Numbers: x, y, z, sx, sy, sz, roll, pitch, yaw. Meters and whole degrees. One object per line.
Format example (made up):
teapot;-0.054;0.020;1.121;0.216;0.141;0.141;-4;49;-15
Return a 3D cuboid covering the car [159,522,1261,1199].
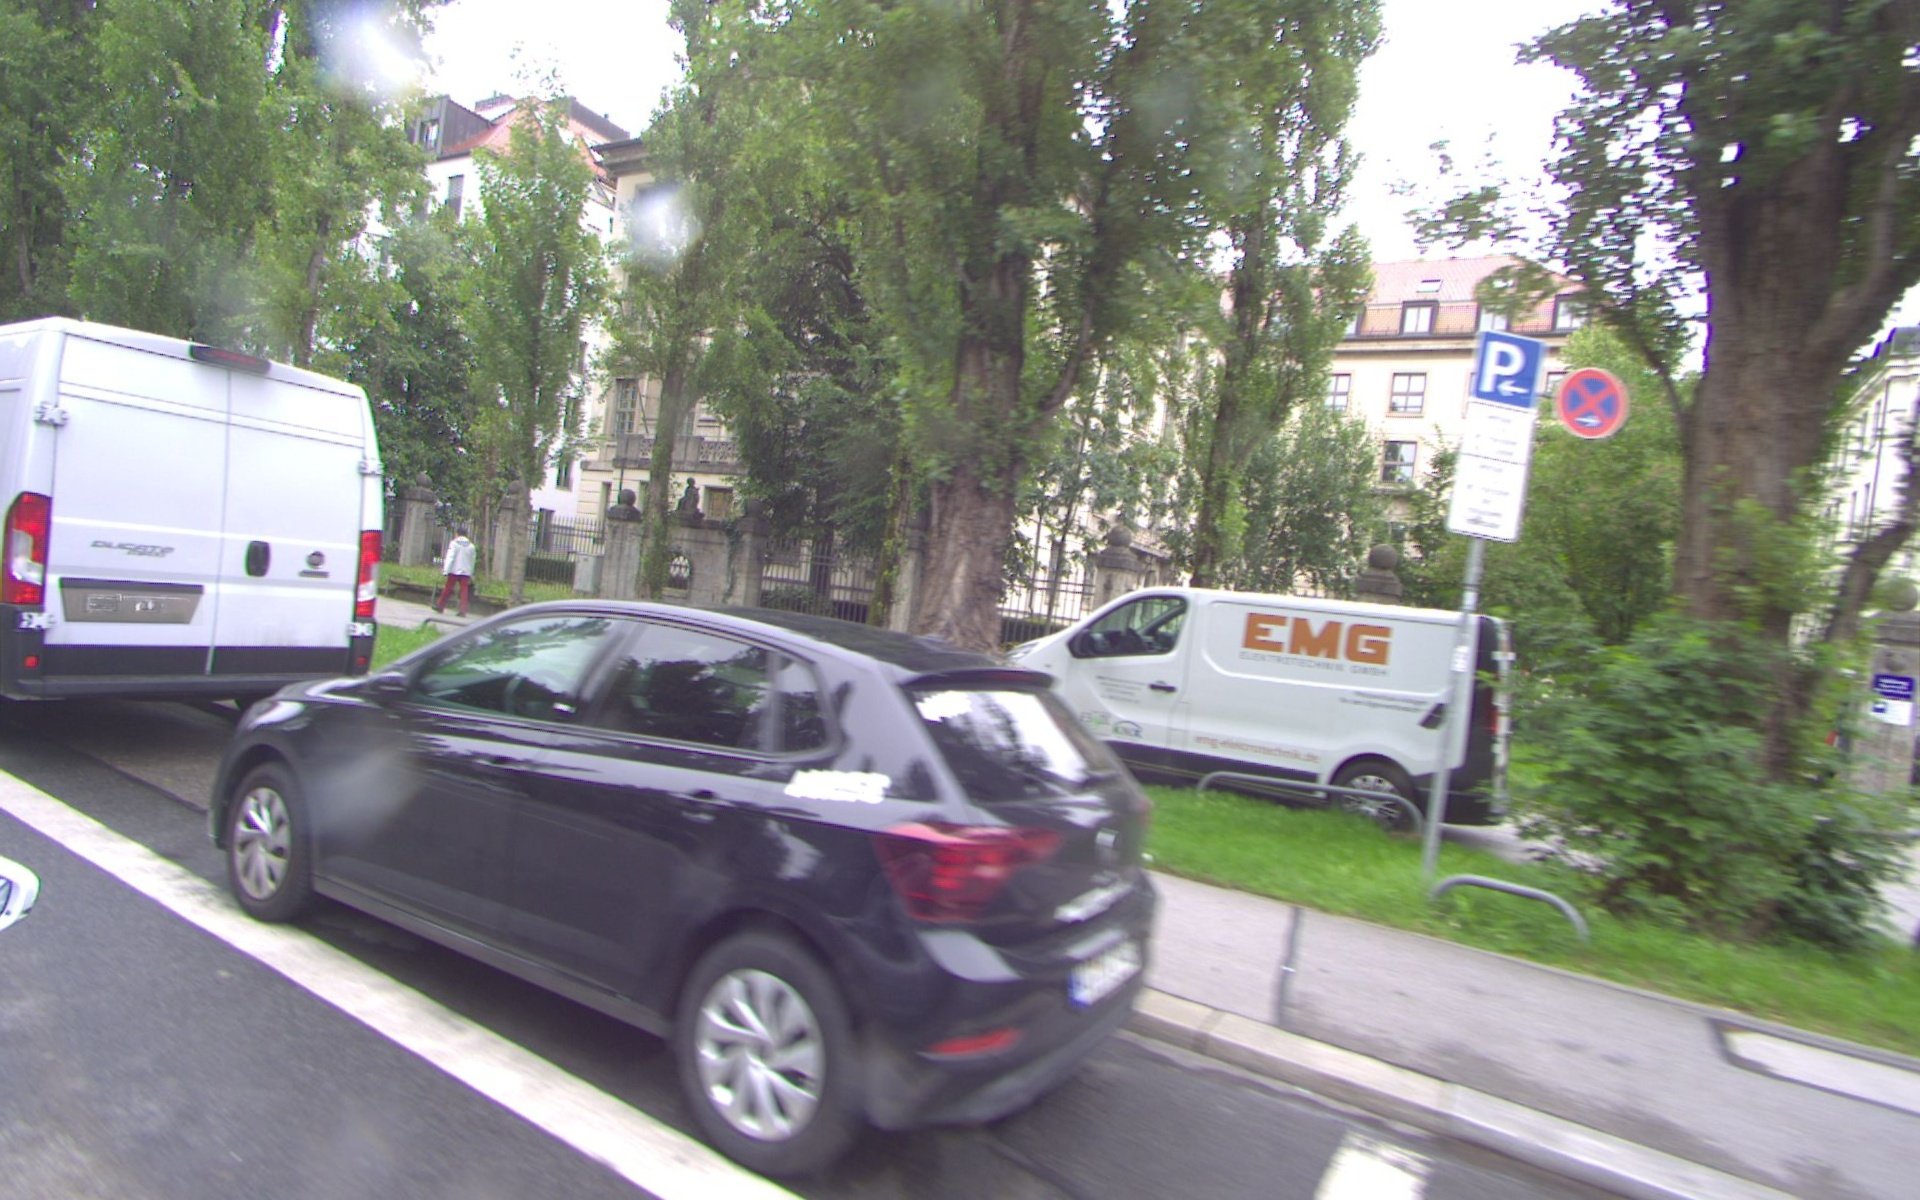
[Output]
car;-1.100;0.671;3.872;3.932;1.437;1.679;7;0;30

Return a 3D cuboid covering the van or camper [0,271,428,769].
van or camper;-7.055;-0.647;7.713;6.310;2.571;2.142;7;0;31

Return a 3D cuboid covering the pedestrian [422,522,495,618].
pedestrian;-10.098;-0.603;20.272;0.880;1.790;0.796;7;1;31

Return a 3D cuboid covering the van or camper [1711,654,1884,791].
van or camper;20.519;2.918;24.945;2.211;2.739;5.217;7;0;31

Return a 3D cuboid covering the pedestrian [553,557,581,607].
pedestrian;-15.776;-0.714;40.374;0.592;1.886;0.638;7;1;23

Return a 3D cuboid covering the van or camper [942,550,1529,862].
van or camper;2.540;0.834;9.725;4.953;1.956;1.979;7;-1;31
